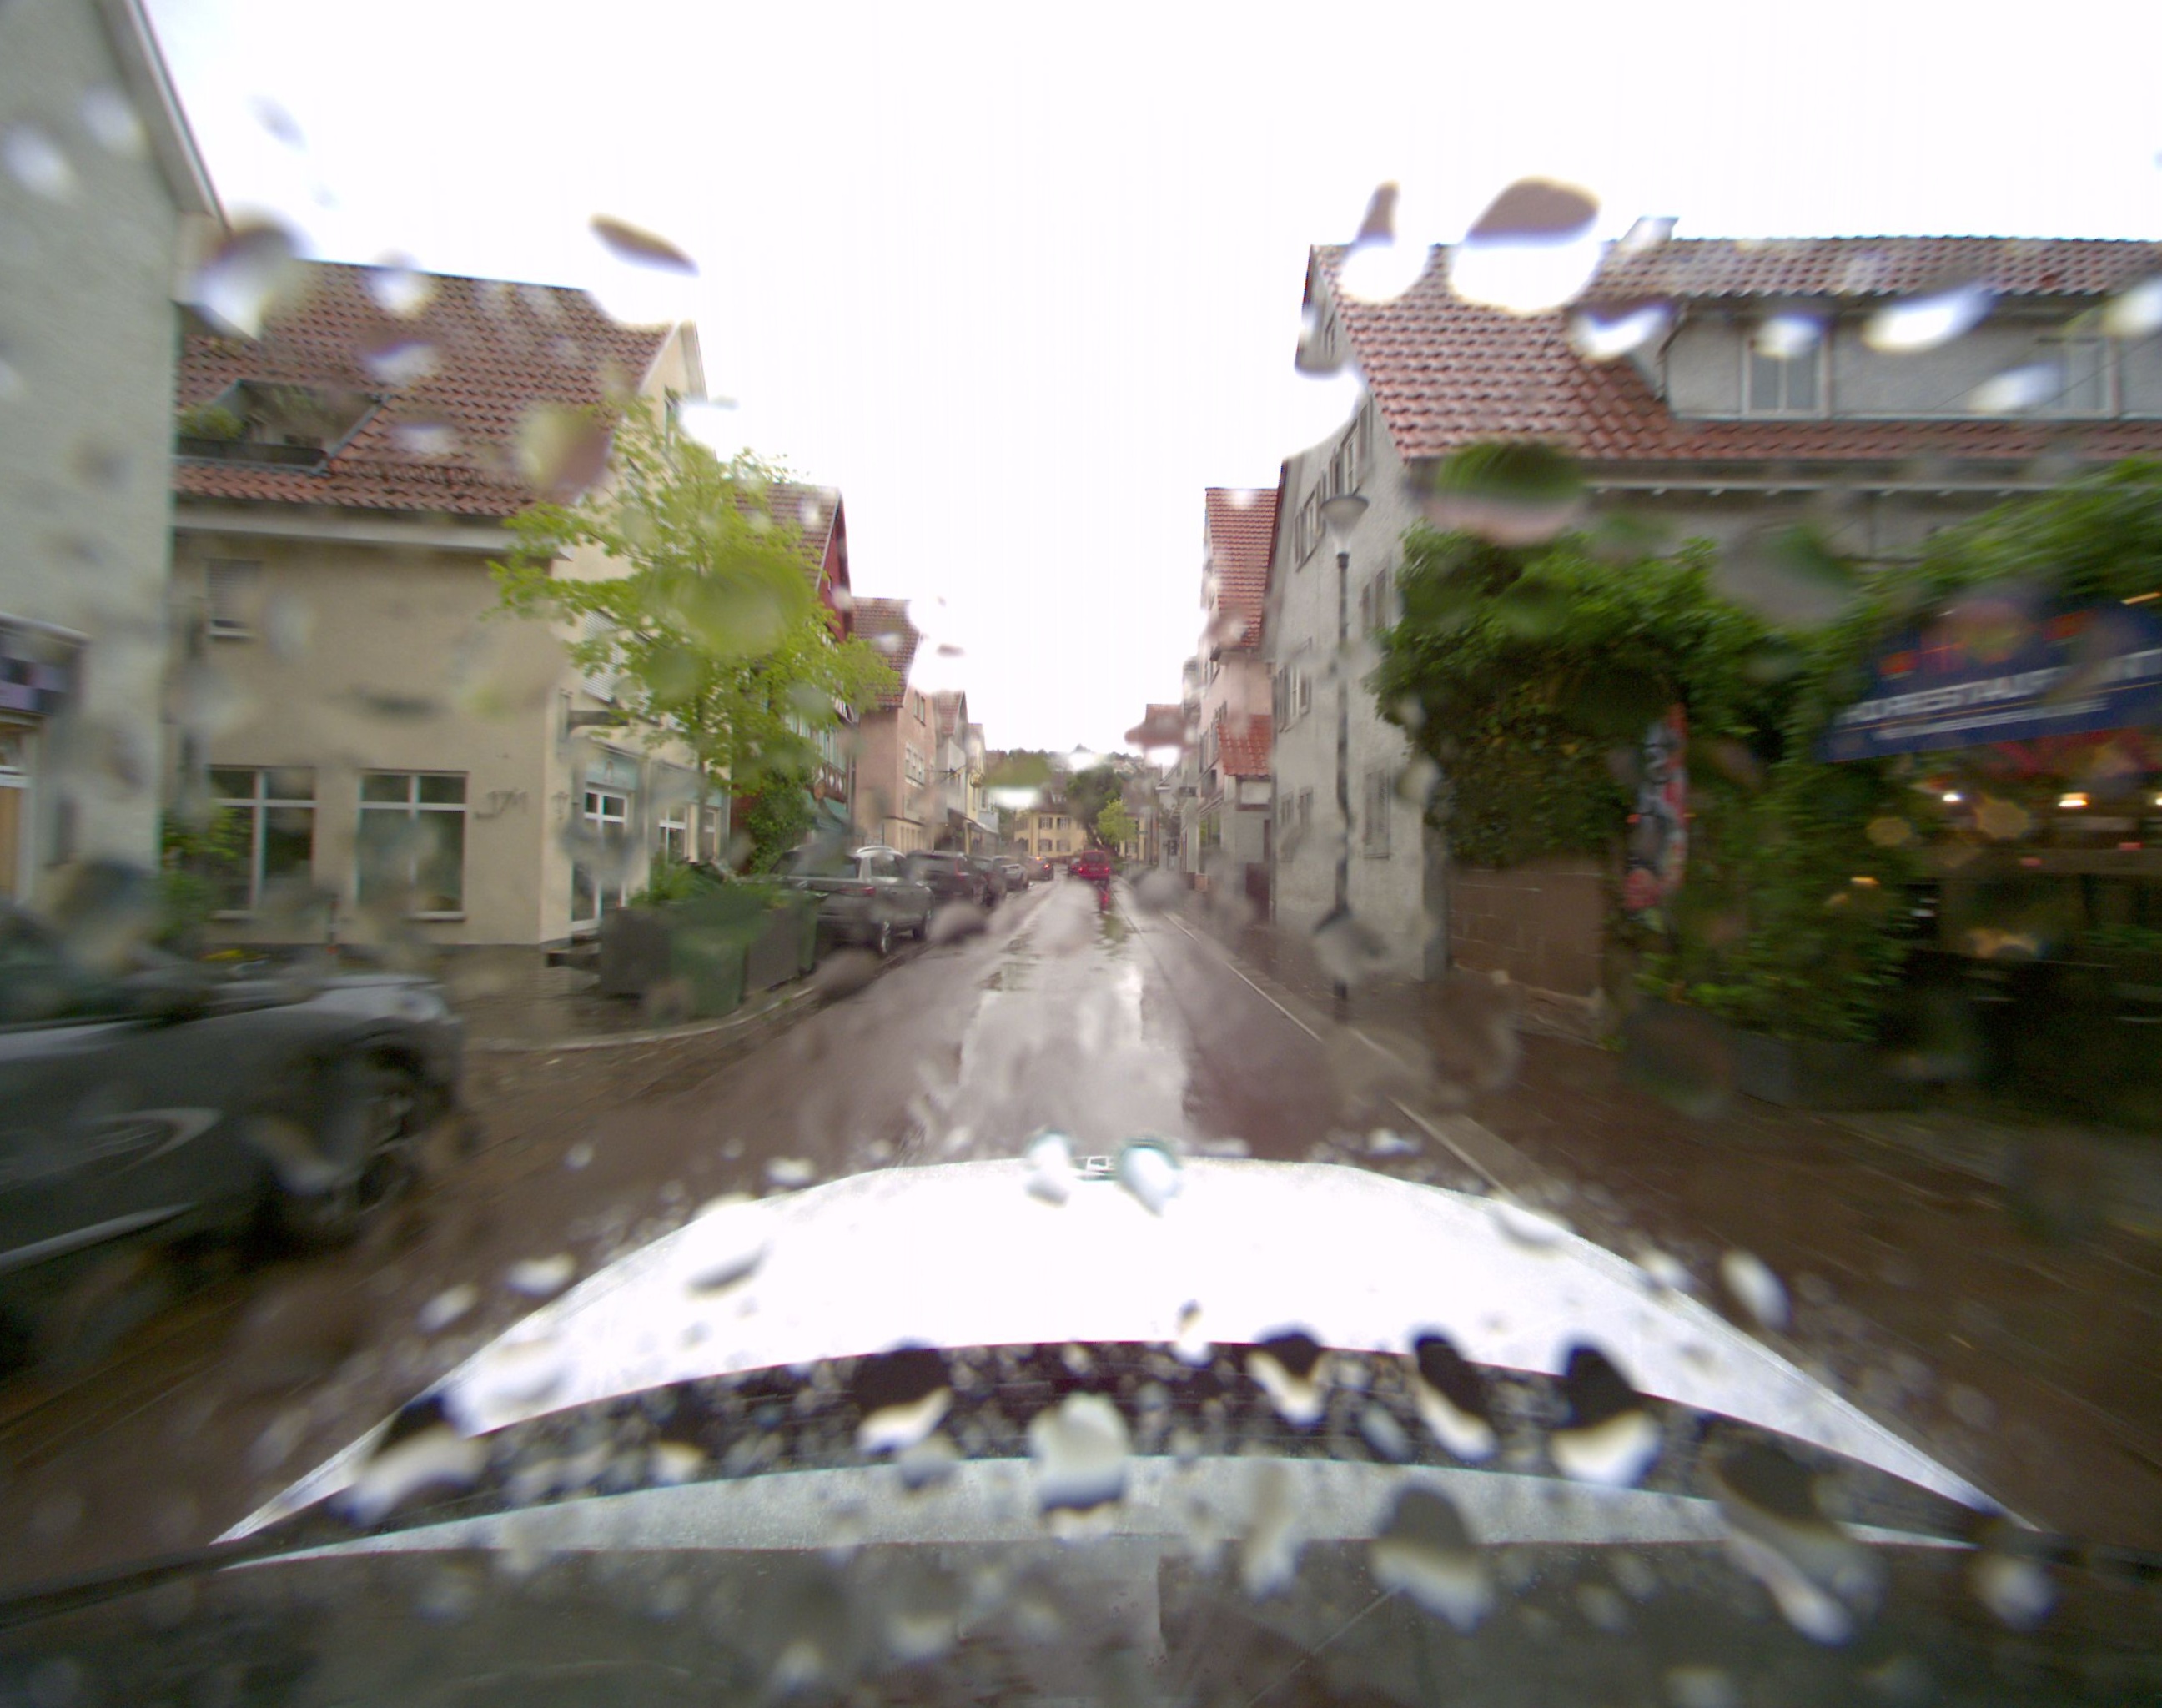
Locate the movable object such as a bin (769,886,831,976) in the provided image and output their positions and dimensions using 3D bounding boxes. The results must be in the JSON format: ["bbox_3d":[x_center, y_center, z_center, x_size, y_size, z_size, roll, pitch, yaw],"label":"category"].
[{"bbox_3d":[-3.438,0.929,9.999,0.550,1.046,0.534,2,-2,-3],"label":"movable object such as a bin"}]

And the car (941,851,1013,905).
[{"bbox_3d":[-3.291,0.712,26.493,1.774,1.538,4.289,1,1,0],"label":"car"}]

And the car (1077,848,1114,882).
[{"bbox_3d":[0.882,0.576,46.775,1.886,1.811,4.005,2,1,4],"label":"car"}]

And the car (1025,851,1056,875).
[{"bbox_3d":[-2.657,0.578,53.633,1.685,1.443,3.886,2,1,2],"label":"car"}]

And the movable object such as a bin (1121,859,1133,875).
[{"bbox_3d":[3.136,0.876,55.546,0.726,1.091,0.521,2,-2,1],"label":"movable object such as a bin"}]

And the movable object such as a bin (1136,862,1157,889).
[{"bbox_3d":[2.671,0.888,33.273,0.794,1.081,0.582,0,-1,-2],"label":"movable object such as a bin"}]

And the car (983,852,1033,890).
[{"bbox_3d":[-3.265,0.714,37.211,1.685,1.538,4.124,2,1,3],"label":"car"}]

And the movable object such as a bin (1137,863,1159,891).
[{"bbox_3d":[2.684,0.914,32.566,0.790,1.081,0.614,0,-1,-2],"label":"movable object such as a bin"}]

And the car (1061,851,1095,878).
[{"bbox_3d":[-0.276,0.760,58.041,1.991,1.799,3.991,2,-2,-6],"label":"car"}]

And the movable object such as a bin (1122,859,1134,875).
[{"bbox_3d":[3.162,0.860,54.335,0.765,1.079,0.599,2,-2,1],"label":"movable object such as a bin"}]

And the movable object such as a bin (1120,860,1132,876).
[{"bbox_3d":[3.107,0.970,56.192,0.733,1.098,0.611,1,-2,0],"label":"movable object such as a bin"}]

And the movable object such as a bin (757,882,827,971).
[{"bbox_3d":[-3.767,0.928,10.664,0.614,1.102,0.780,2,-2,-3],"label":"movable object such as a bin"}]

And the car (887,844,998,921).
[{"bbox_3d":[-3.361,0.606,20.636,1.817,1.666,4.645,2,1,2],"label":"car"}]

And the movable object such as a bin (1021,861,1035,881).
[{"bbox_3d":[-2.925,0.956,45.093,0.706,1.052,0.704,2,-2,2],"label":"movable object such as a bin"}]

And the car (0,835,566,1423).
[{"bbox_3d":[-3.784,0.719,2.157,1.854,1.524,4.331,2,0,3],"label":"car"}]

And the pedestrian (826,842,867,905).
[{"bbox_3d":[-6.434,0.539,22.394,0.786,1.682,1.175,2,-2,-4],"label":"pedestrian"}]

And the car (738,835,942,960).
[{"bbox_3d":[-3.699,0.660,13.488,1.817,1.666,4.643,2,-2,1],"label":"car"}]

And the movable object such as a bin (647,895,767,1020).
[{"bbox_3d":[-3.490,0.943,7.664,0.744,1.083,0.744,2,-2,-2],"label":"movable object such as a bin"}]
